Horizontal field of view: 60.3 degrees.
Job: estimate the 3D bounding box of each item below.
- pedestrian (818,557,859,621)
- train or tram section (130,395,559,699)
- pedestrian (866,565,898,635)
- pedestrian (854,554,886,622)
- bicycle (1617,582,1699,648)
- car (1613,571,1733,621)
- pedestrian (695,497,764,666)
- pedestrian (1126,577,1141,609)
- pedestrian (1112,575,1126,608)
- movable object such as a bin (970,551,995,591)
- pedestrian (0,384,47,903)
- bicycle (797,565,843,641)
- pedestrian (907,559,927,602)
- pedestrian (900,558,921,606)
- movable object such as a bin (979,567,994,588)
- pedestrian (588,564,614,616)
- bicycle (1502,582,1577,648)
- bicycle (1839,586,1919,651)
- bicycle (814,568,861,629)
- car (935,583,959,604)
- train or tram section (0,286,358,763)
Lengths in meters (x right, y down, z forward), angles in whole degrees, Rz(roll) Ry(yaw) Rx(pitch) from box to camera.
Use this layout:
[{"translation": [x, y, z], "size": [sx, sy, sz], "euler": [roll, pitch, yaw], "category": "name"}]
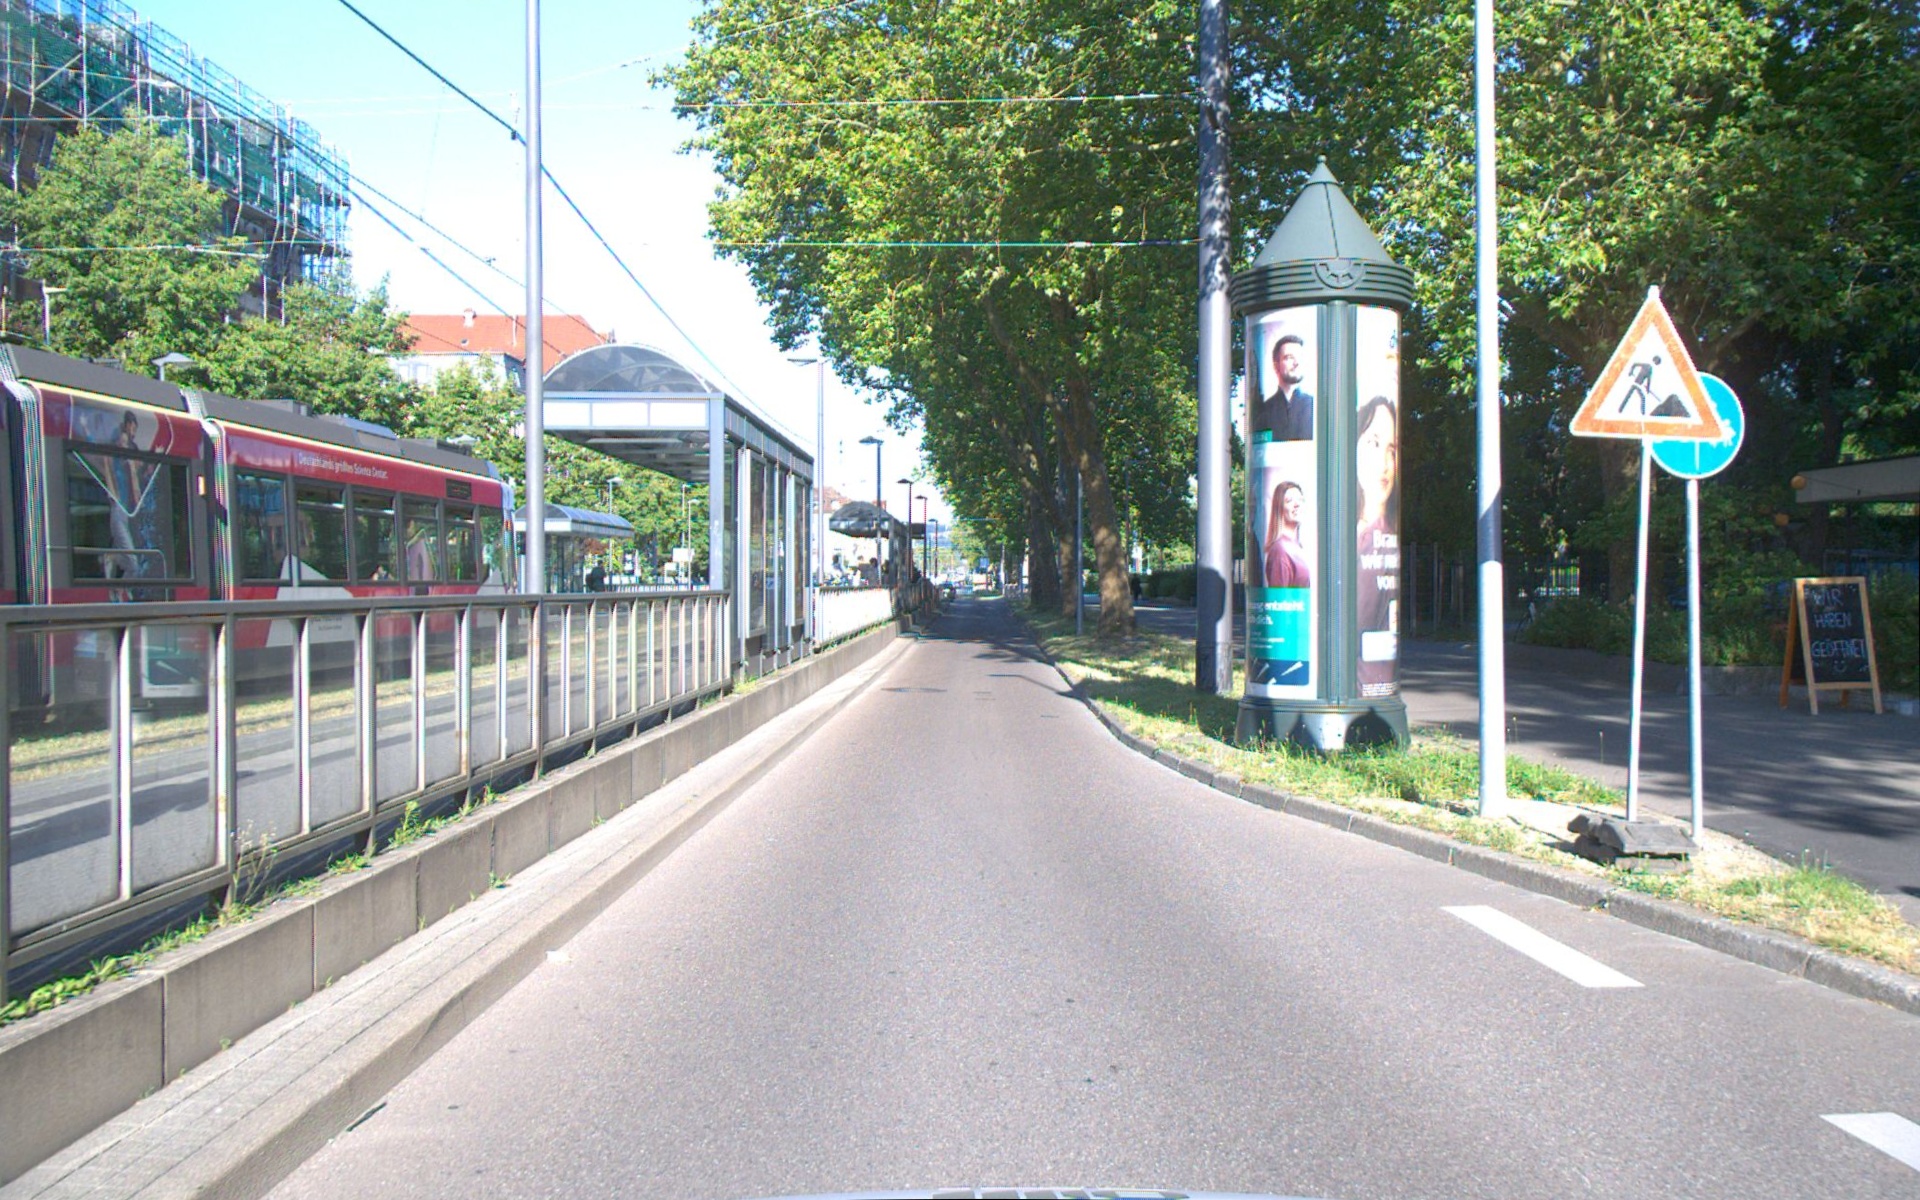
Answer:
[{"translation": [-3.364, -0.304, 45.888], "size": [0.899, 1.752, 0.624], "euler": [2, 0, -33], "category": "pedestrian"}, {"translation": [-8.782, -0.701, 25.302], "size": [2.810, 3.750, 9.685], "euler": [0, 1, 1], "category": "train or tram section"}, {"translation": [-2.028, -0.005, 43.114], "size": [0.749, 1.789, 0.695], "euler": [2, 0, 0], "category": "pedestrian"}, {"translation": [-2.165, -0.292, 39.765], "size": [0.664, 1.589, 0.851], "euler": [2, 0, 0], "category": "pedestrian"}, {"translation": [13.275, 0.266, 31.512], "size": [0.773, 1.198, 1.820], "euler": [2, 0, 0], "category": "bicycle"}, {"translation": [22.828, -0.135, 53.105], "size": [1.954, 1.478, 3.998], "euler": [2, 1, -3], "category": "car"}, {"translation": [-2.727, -0.220, 19.623], "size": [0.655, 1.935, 0.824], "euler": [2, 0, 0], "category": "pedestrian"}, {"translation": [9.069, -0.376, 86.534], "size": [0.636, 1.685, 0.783], "euler": [-1, 0, 0], "category": "pedestrian"}, {"translation": [8.325, -0.436, 86.644], "size": [0.614, 1.685, 0.740], "euler": [-1, 0, 0], "category": "pedestrian"}, {"translation": [3.067, -3.989, 227.817], "size": [3.024, 5.176, 8.892], "euler": [-3, 1, 0], "category": "movable object such as a bin"}, {"translation": [-3.324, 0.136, 4.939], "size": [0.617, 1.637, 0.982], "euler": [2, 0, -1], "category": "pedestrian"}, {"translation": [-2.230, 0.028, 26.498], "size": [0.502, 1.153, 2.104], "euler": [2, 1, 0], "category": "bicycle"}, {"translation": [-1.754, -0.806, 67.560], "size": [0.741, 1.719, 0.678], "euler": [2, 0, 0], "category": "pedestrian"}, {"translation": [-1.793, -0.663, 60.402], "size": [0.665, 1.719, 0.895], "euler": [2, 0, 1], "category": "pedestrian"}, {"translation": [3.986, -3.365, 249.981], "size": [1.928, 3.065, 4.796], "euler": [-3, 0, 0], "category": "movable object such as a bin"}, {"translation": [-11.916, -0.331, 54.921], "size": [0.665, 1.719, 0.654], "euler": [2, 0, -2], "category": "pedestrian"}, {"translation": [11.098, 0.268, 31.719], "size": [0.773, 1.198, 1.820], "euler": [2, 0, 0], "category": "bicycle"}, {"translation": [17.644, 0.337, 31.524], "size": [0.773, 1.198, 1.820], "euler": [2, 0, 0], "category": "bicycle"}, {"translation": [-2.395, -0.039, 32.474], "size": [0.722, 1.153, 2.031], "euler": [2, 0, 0], "category": "bicycle"}, {"translation": [-1.136, -0.550, 142.938], "size": [1.952, 1.713, 4.000], "euler": [2, 1, 1], "category": "car"}, {"translation": [-8.953, -0.593, 13.163], "size": [2.810, 3.750, 14.562], "euler": [0, 1, 1], "category": "train or tram section"}]
